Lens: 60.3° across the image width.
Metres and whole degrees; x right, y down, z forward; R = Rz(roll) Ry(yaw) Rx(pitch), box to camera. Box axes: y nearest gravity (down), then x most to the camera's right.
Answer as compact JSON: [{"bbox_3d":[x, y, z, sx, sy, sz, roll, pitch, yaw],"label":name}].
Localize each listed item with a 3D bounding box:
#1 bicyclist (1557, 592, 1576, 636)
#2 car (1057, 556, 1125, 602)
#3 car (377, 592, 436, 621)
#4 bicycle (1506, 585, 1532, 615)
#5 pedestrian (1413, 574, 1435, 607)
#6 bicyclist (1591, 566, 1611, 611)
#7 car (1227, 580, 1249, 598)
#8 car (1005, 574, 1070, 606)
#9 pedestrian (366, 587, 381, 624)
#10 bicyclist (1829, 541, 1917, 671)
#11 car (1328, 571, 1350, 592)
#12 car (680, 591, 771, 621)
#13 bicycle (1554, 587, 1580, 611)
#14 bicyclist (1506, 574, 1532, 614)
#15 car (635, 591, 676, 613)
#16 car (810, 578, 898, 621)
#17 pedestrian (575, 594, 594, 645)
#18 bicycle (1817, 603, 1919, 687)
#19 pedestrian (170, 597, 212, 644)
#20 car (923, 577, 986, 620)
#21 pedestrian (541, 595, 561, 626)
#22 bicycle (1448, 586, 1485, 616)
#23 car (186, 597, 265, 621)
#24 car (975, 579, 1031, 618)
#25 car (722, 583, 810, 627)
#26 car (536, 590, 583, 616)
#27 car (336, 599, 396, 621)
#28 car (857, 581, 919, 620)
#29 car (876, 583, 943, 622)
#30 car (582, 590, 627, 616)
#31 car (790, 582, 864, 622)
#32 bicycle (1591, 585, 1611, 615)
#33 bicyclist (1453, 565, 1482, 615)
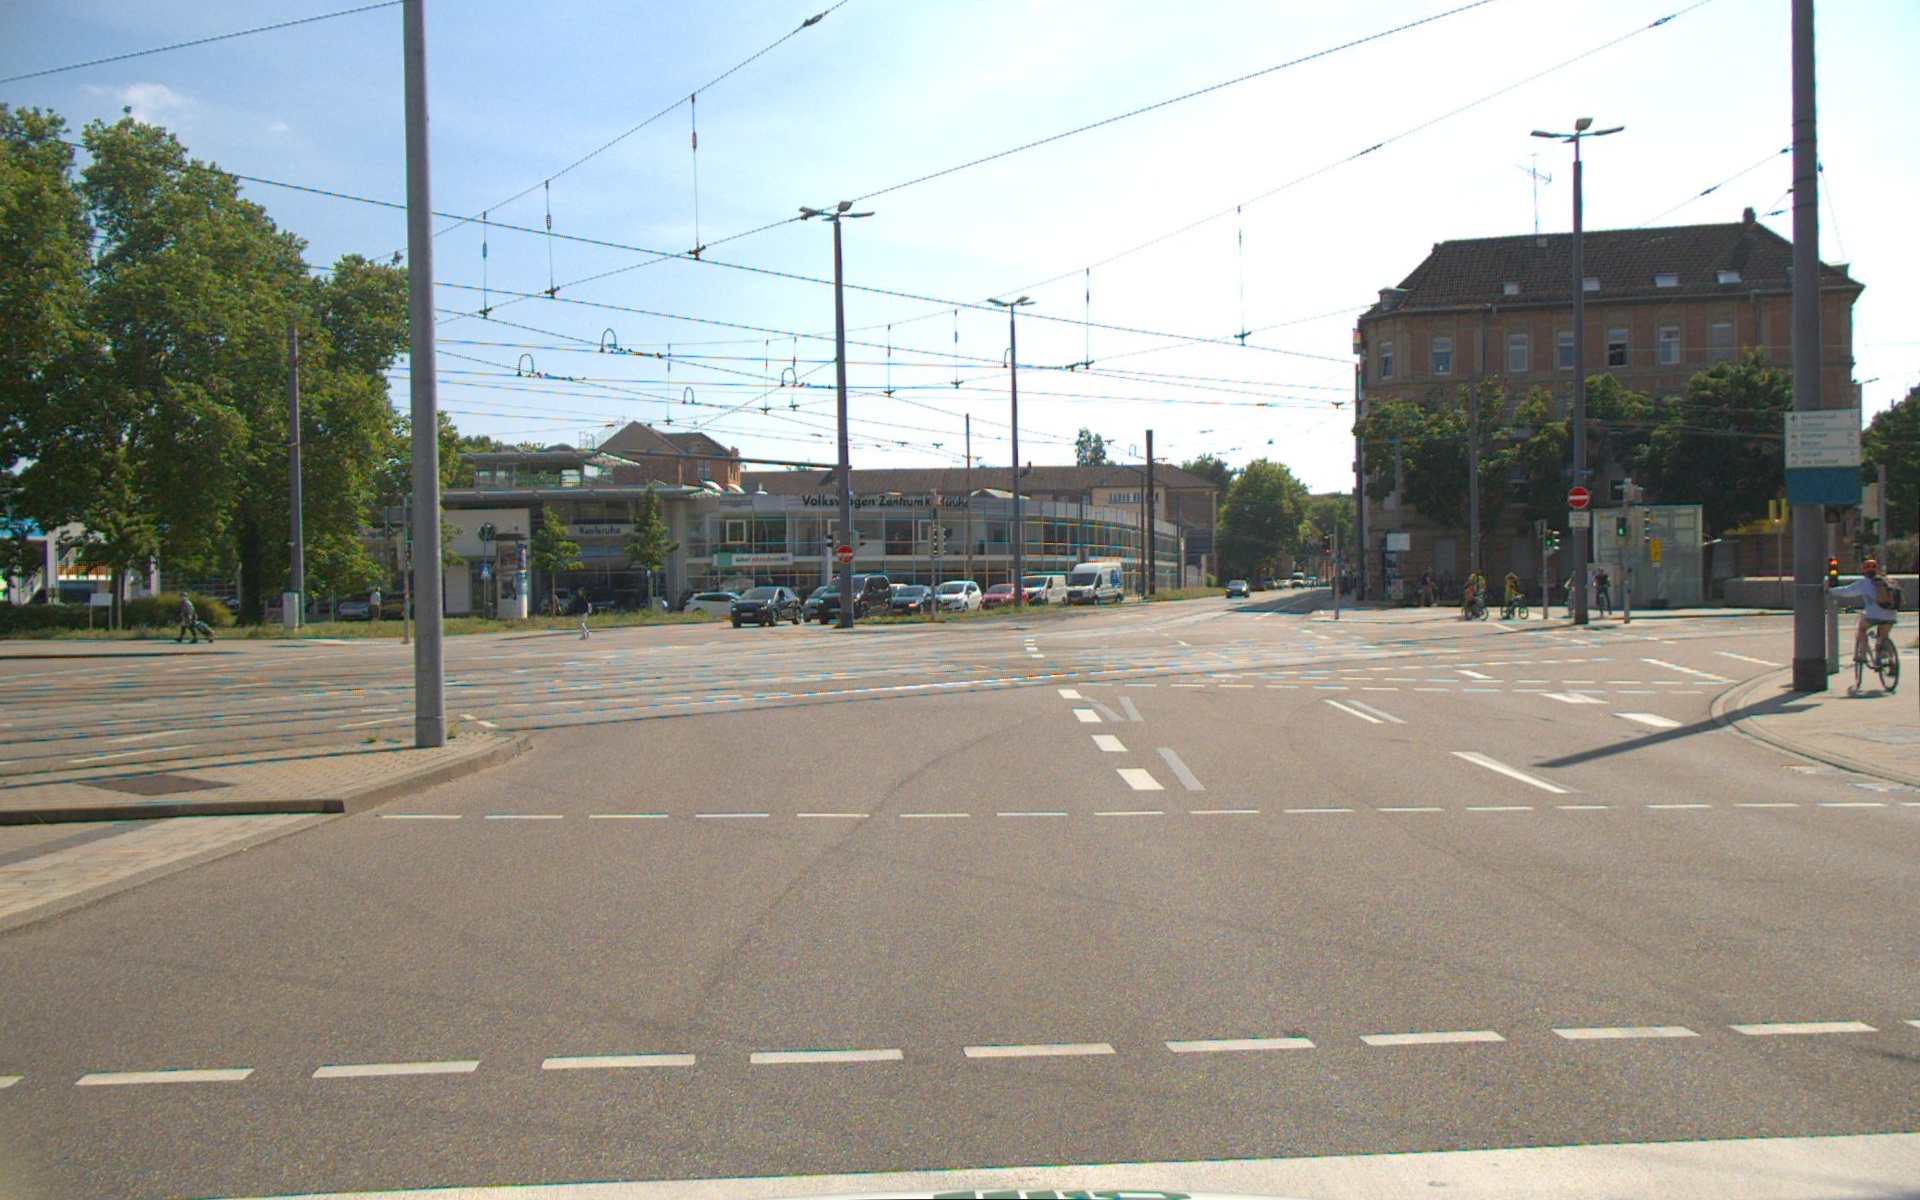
[{"bbox_3d":[22.772,0.514,62.065,0.489,1.649,0.650,1,0,4],"label":"bicyclist"},{"bbox_3d":[7.955,-1.235,99.724,2.165,2.620,5.870,1,0,25],"label":"car"},{"bbox_3d":[-33.677,0.407,100.696,1.951,1.713,4.002,1,0,4],"label":"car"},{"bbox_3d":[20.959,-0.024,62.041,0.907,1.088,2.842,1,1,18],"label":"bicycle"},{"bbox_3d":[20.728,-0.419,73.933,0.608,1.458,0.703,1,-1,-38],"label":"pedestrian"},{"bbox_3d":[23.969,-0.424,61.849,0.653,1.652,0.782,1,1,22],"label":"bicyclist"},{"bbox_3d":[23.133,-0.945,137.667,1.355,1.439,3.013,1,0,18],"label":"car"},{"bbox_3d":[4.367,-0.586,92.512,2.140,1.710,5.029,-1,0,22],"label":"car"},{"bbox_3d":[-26.361,0.241,74.333,0.384,1.624,0.464,1,-1,23],"label":"pedestrian"},{"bbox_3d":[12.458,0.076,22.584,0.699,1.698,0.875,-3,0,7],"label":"bicyclist"},{"bbox_3d":[38.109,-1.867,166.210,2.063,2.049,4.004,-1,0,13],"label":"car"},{"bbox_3d":[-12.345,0.307,87.075,4.487,1.461,1.445,1,0,13],"label":"car"},{"bbox_3d":[22.786,-0.033,62.065,0.489,0.881,1.588,1,1,4],"label":"bicycle"},{"bbox_3d":[20.954,-0.222,62.029,0.907,1.477,1.252,1,1,18],"label":"bicyclist"},{"bbox_3d":[-18.332,0.122,99.676,1.793,1.216,3.998,1,0,-2],"label":"car"},{"bbox_3d":[-4.084,-0.050,64.515,1.919,1.615,4.719,-1,1,16],"label":"car"},{"bbox_3d":[-12.103,0.628,53.296,0.449,1.633,0.395,1,-1,-37],"label":"pedestrian"},{"bbox_3d":[12.494,0.591,22.591,0.699,1.033,2.022,-3,0,7],"label":"bicycle"},{"bbox_3d":[-23.630,0.640,50.838,1.098,1.428,0.652,1,-1,-23],"label":"pedestrian"},{"bbox_3d":[-0.234,-0.036,78.416,1.854,1.950,4.203,-1,-1,16],"label":"car"},{"bbox_3d":[-21.809,0.565,88.163,0.934,1.607,0.534,1,-1,-4],"label":"pedestrian"},{"bbox_3d":[19.040,0.030,62.233,0.907,1.088,2.749,1,0,9],"label":"bicycle"},{"bbox_3d":[-44.867,0.533,101.078,3.906,1.395,1.999,1,0,-1],"label":"car"},{"bbox_3d":[2.262,-0.057,85.352,1.854,1.950,4.203,-1,-1,16],"label":"car"},{"bbox_3d":[-7.456,0.212,63.914,1.851,1.615,4.213,-1,-1,16],"label":"car"},{"bbox_3d":[-24.190,0.198,100.004,1.953,1.512,3.998,1,0,-2],"label":"car"},{"bbox_3d":[-35.986,0.589,100.265,1.951,1.266,4.002,1,0,4],"label":"car"},{"bbox_3d":[-3.365,0.056,78.047,1.616,1.769,4.203,-1,-1,16],"label":"car"},{"bbox_3d":[-2.145,0.123,71.094,1.854,1.615,4.003,-1,-1,13],"label":"car"},{"bbox_3d":[-21.462,0.190,100.017,1.953,1.512,3.998,1,0,-2],"label":"car"},{"bbox_3d":[-5.639,0.101,70.690,1.854,1.615,4.002,-1,-1,16],"label":"car"},{"bbox_3d":[23.939,0.004,61.782,0.653,1.088,2.463,1,1,22],"label":"bicycle"},{"bbox_3d":[19.041,-0.362,62.074,0.906,1.852,1.053,1,-1,10],"label":"bicyclist"}]
